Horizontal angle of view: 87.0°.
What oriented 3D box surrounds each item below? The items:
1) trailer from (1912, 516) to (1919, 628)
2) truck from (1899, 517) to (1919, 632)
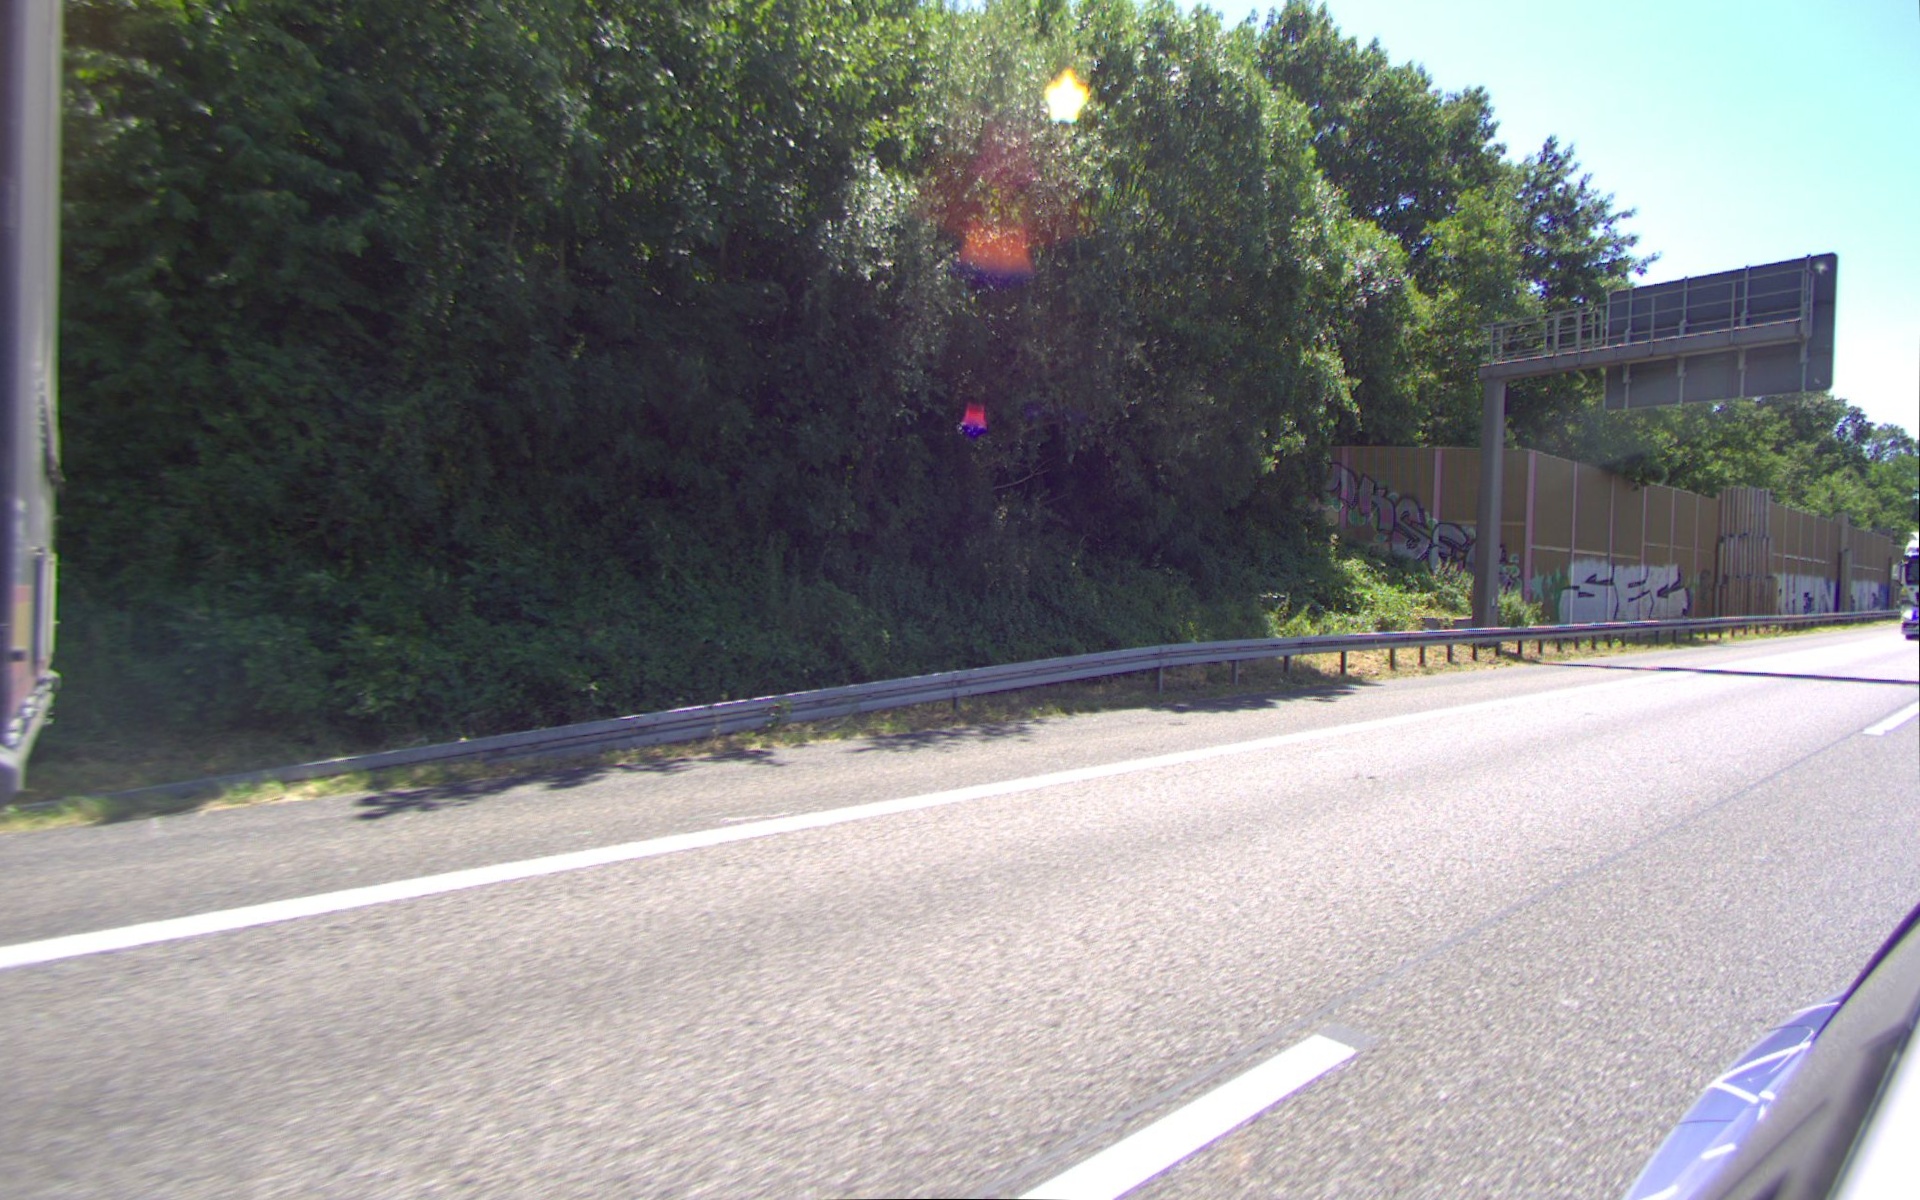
[{"bbox_3d":[42.792,-1.112,42.377,13.184,4.343,2.999,0,1,-41],"label":"trailer"},{"bbox_3d":[37.393,-0.949,37.681,5.161,4.176,3.008,-1,1,-41],"label":"truck"}]
